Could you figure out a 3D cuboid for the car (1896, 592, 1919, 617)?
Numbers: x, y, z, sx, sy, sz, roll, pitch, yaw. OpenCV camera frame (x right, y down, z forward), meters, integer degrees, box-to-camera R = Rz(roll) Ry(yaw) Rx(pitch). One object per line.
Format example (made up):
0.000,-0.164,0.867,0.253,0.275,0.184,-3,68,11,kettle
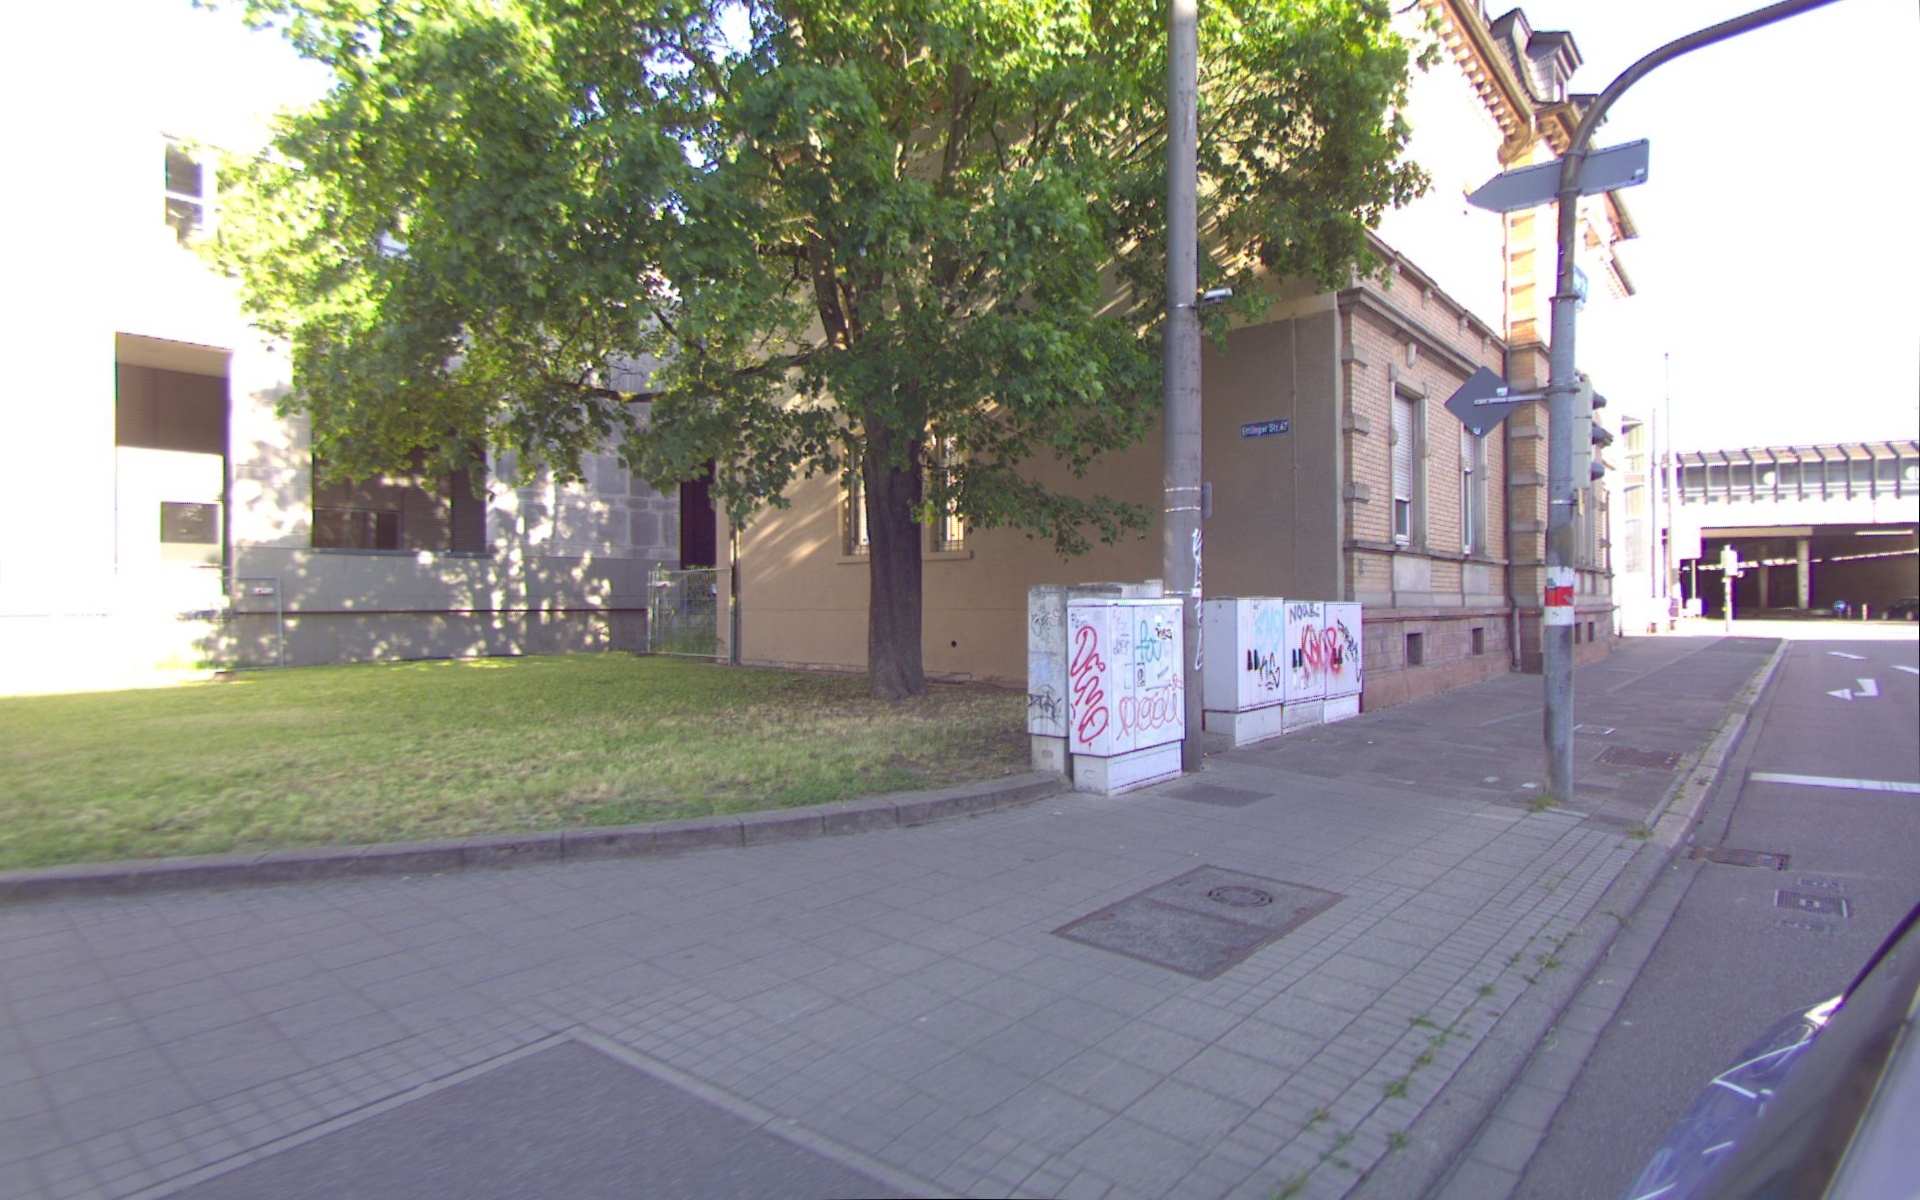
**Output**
57.074,0.262,59.117,1.976,1.410,4.529,-1,0,21,car
